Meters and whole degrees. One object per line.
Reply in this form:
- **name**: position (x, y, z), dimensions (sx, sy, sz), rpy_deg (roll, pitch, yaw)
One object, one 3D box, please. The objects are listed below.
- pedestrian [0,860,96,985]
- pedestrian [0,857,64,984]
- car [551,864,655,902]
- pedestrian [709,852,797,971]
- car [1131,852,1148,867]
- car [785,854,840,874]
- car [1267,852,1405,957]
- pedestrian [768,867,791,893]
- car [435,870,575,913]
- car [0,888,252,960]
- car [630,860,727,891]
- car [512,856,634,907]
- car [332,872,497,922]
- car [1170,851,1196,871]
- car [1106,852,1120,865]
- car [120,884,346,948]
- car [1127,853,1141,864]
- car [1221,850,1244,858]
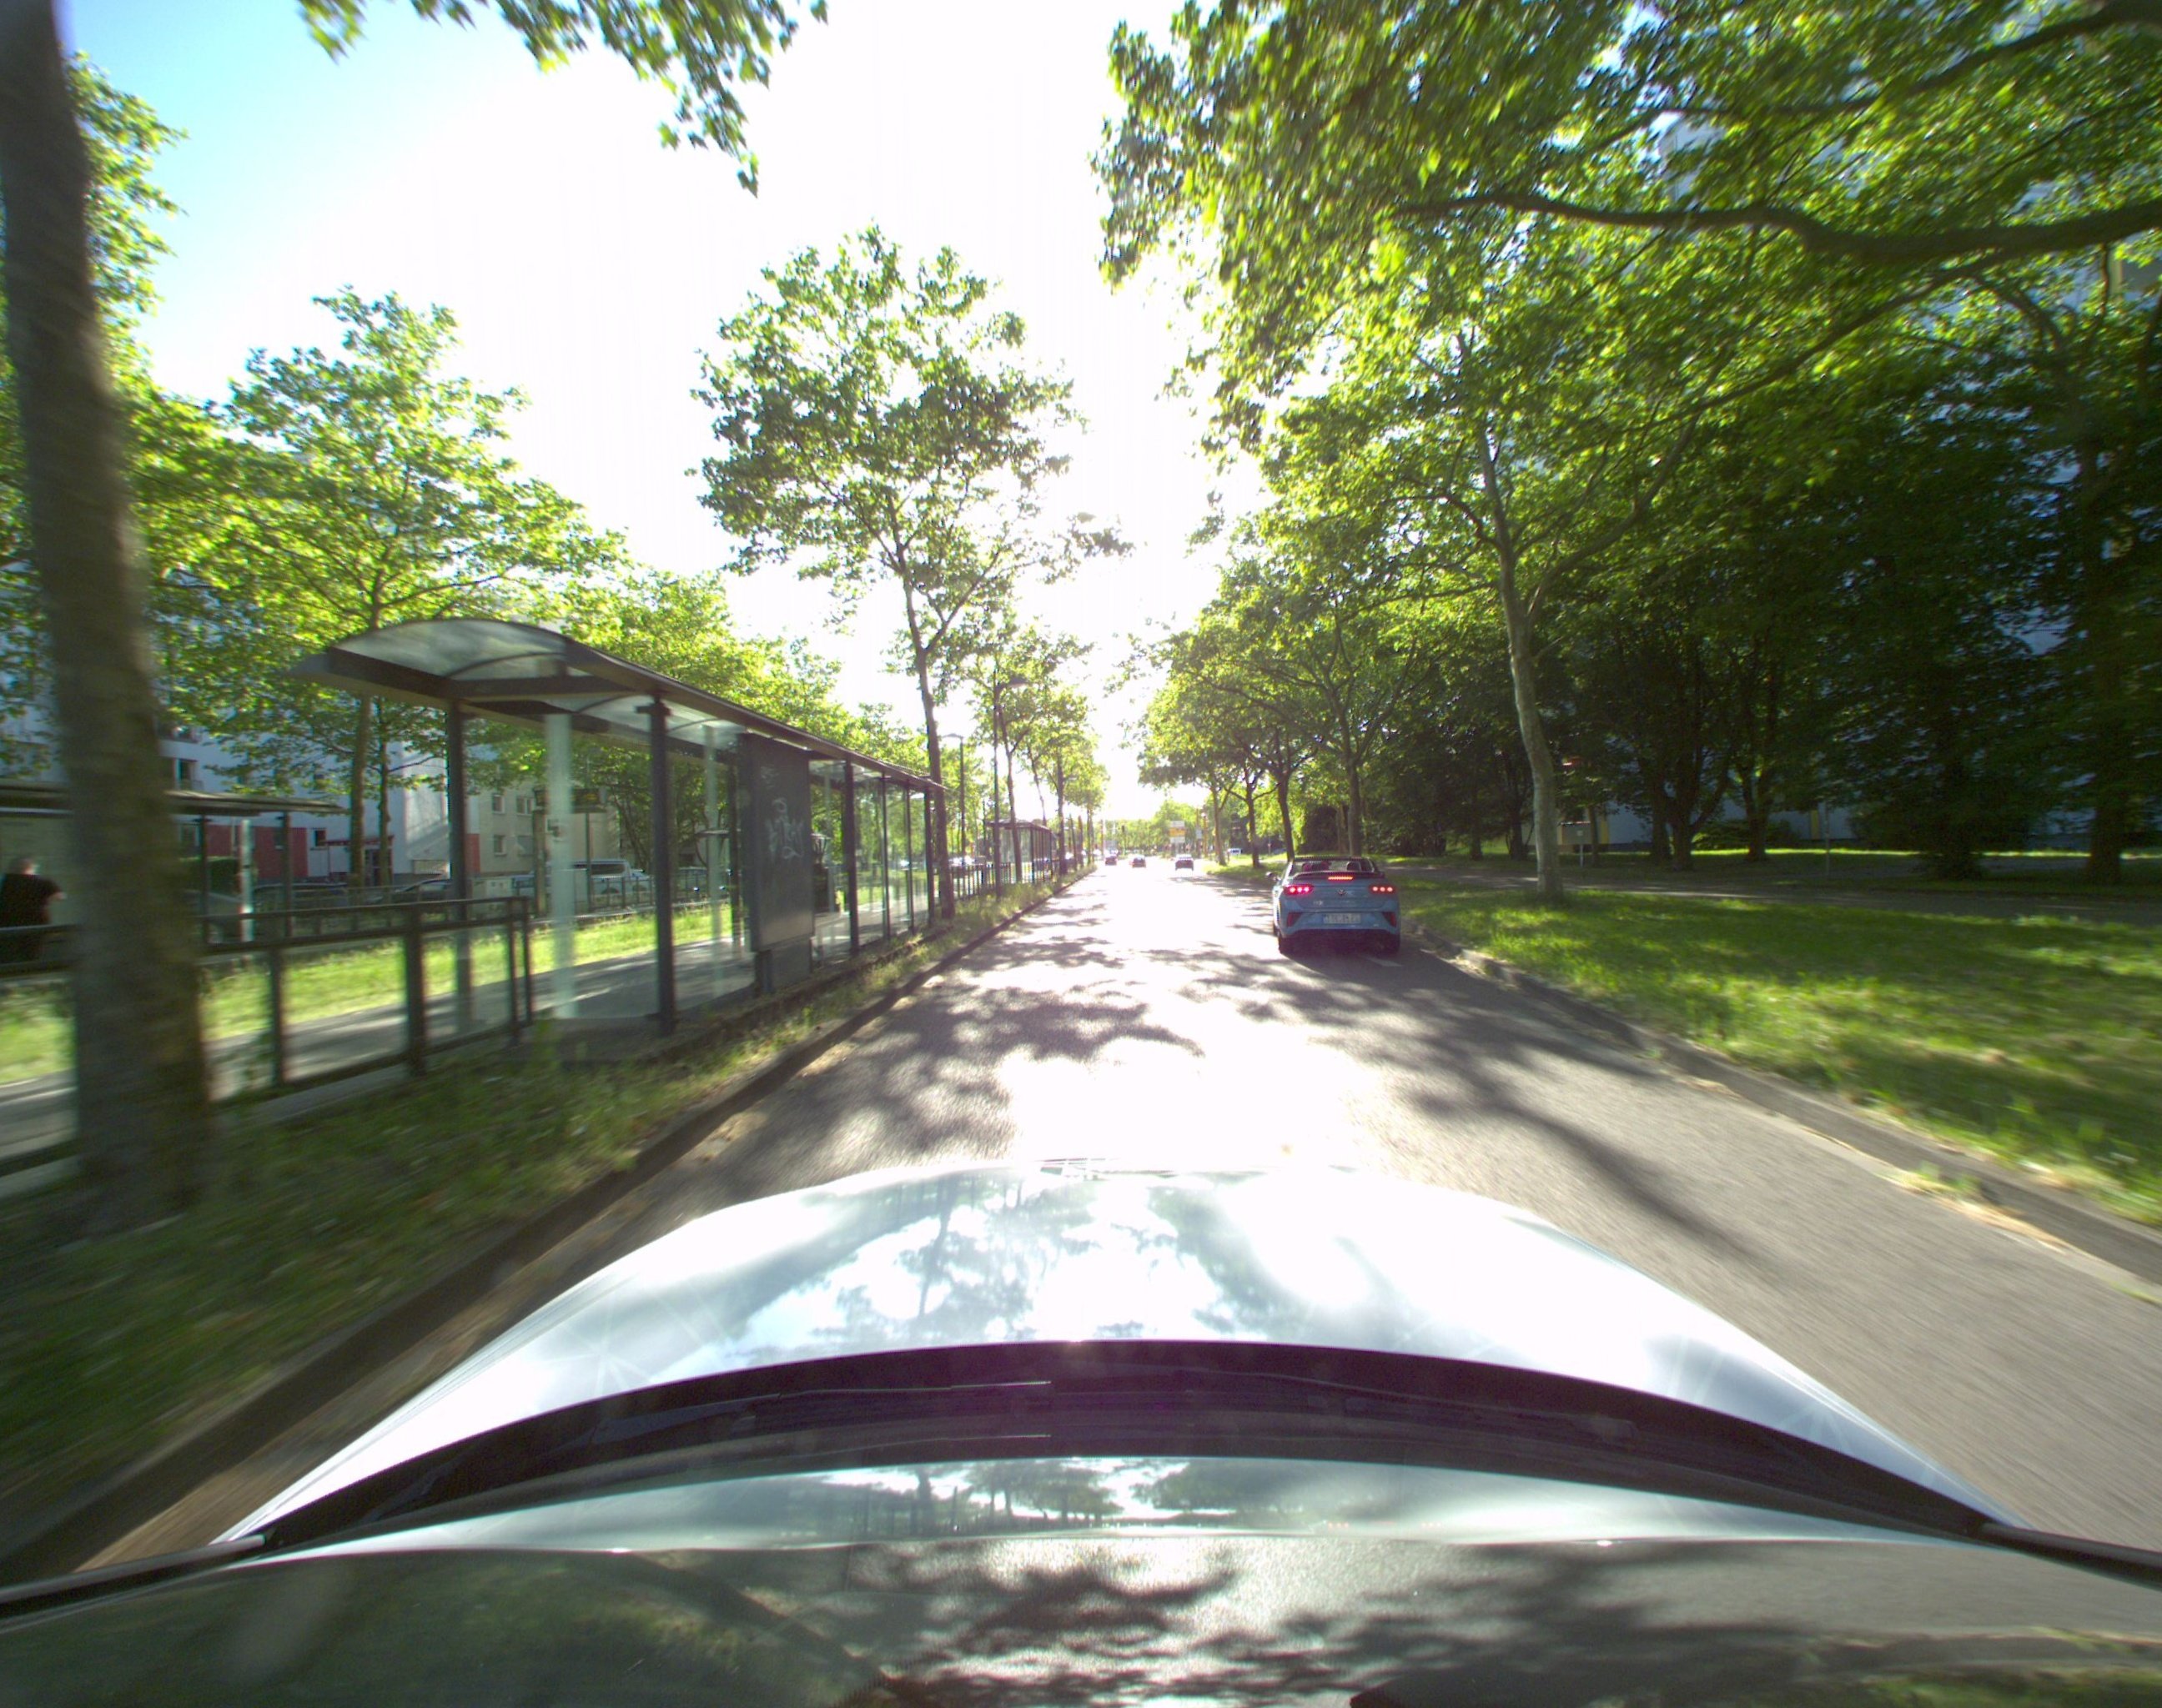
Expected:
- **pedestrian**: position (-13.335, 0.865, 10.471), dimensions (0.636, 1.514, 0.688), rpy_deg (-4, 0, 28)
- **pedestrian**: position (-14.314, 0.878, 10.777), dimensions (0.727, 1.634, 0.715), rpy_deg (-3, 0, -1)
- **car**: position (-23.094, 1.355, 39.438), dimensions (4.082, 1.610, 1.669), rpy_deg (-2, 1, -42)
- **pedestrian**: position (-3.575, 0.612, 8.927), dimensions (0.732, 1.252, 0.587), rpy_deg (-1, -1, -4)
- **car**: position (6.281, 0.560, 87.792), dimensions (1.633, 1.494, 3.504), rpy_deg (-1, 1, 1)
- **car**: position (-22.010, 0.783, 66.857), dimensions (4.014, 1.544, 1.627), rpy_deg (-2, 1, -40)
- **car**: position (4.082, 0.715, 13.627), dimensions (1.764, 1.483, 4.113), rpy_deg (-1, 0, 11)
- **pedestrian**: position (-13.827, 1.171, 37.305), dimensions (0.692, 1.127, 0.662), rpy_deg (-5, -1, 3)
- **car**: position (-23.460, 1.469, 33.239), dimensions (4.523, 1.497, 1.878), rpy_deg (-1, 1, -40)
- **car**: position (-23.921, 1.683, 20.377), dimensions (4.219, 1.428, 1.681), rpy_deg (-1, 1, -37)
- **car**: position (-22.721, 1.172, 46.078), dimensions (1.876, 1.504, 4.527), rpy_deg (0, 1, 43)
- **car**: position (-22.845, 1.161, 36.691), dimensions (4.521, 2.063, 1.879), rpy_deg (-1, 1, -37)
- **car**: position (-24.152, 1.505, 29.666), dimensions (4.523, 1.497, 1.878), rpy_deg (-1, 1, -40)
- **car**: position (9.507, 0.668, 76.123), dimensions (1.974, 1.792, 4.616), rpy_deg (-1, 0, 2)
- **car**: position (4.117, 0.592, 105.329), dimensions (1.704, 1.603, 3.351), rpy_deg (-1, 0, 1)
- **car**: position (-23.851, 1.693, 23.167), dimensions (4.219, 1.428, 1.681), rpy_deg (-1, 1, -37)
- **car**: position (6.868, 0.583, 105.909), dimensions (1.671, 1.475, 4.134), rpy_deg (-1, 0, 3)
- **car**: position (28.687, -0.009, 154.409), dimensions (3.949, 1.338, 1.739), rpy_deg (-1, 0, 28)
